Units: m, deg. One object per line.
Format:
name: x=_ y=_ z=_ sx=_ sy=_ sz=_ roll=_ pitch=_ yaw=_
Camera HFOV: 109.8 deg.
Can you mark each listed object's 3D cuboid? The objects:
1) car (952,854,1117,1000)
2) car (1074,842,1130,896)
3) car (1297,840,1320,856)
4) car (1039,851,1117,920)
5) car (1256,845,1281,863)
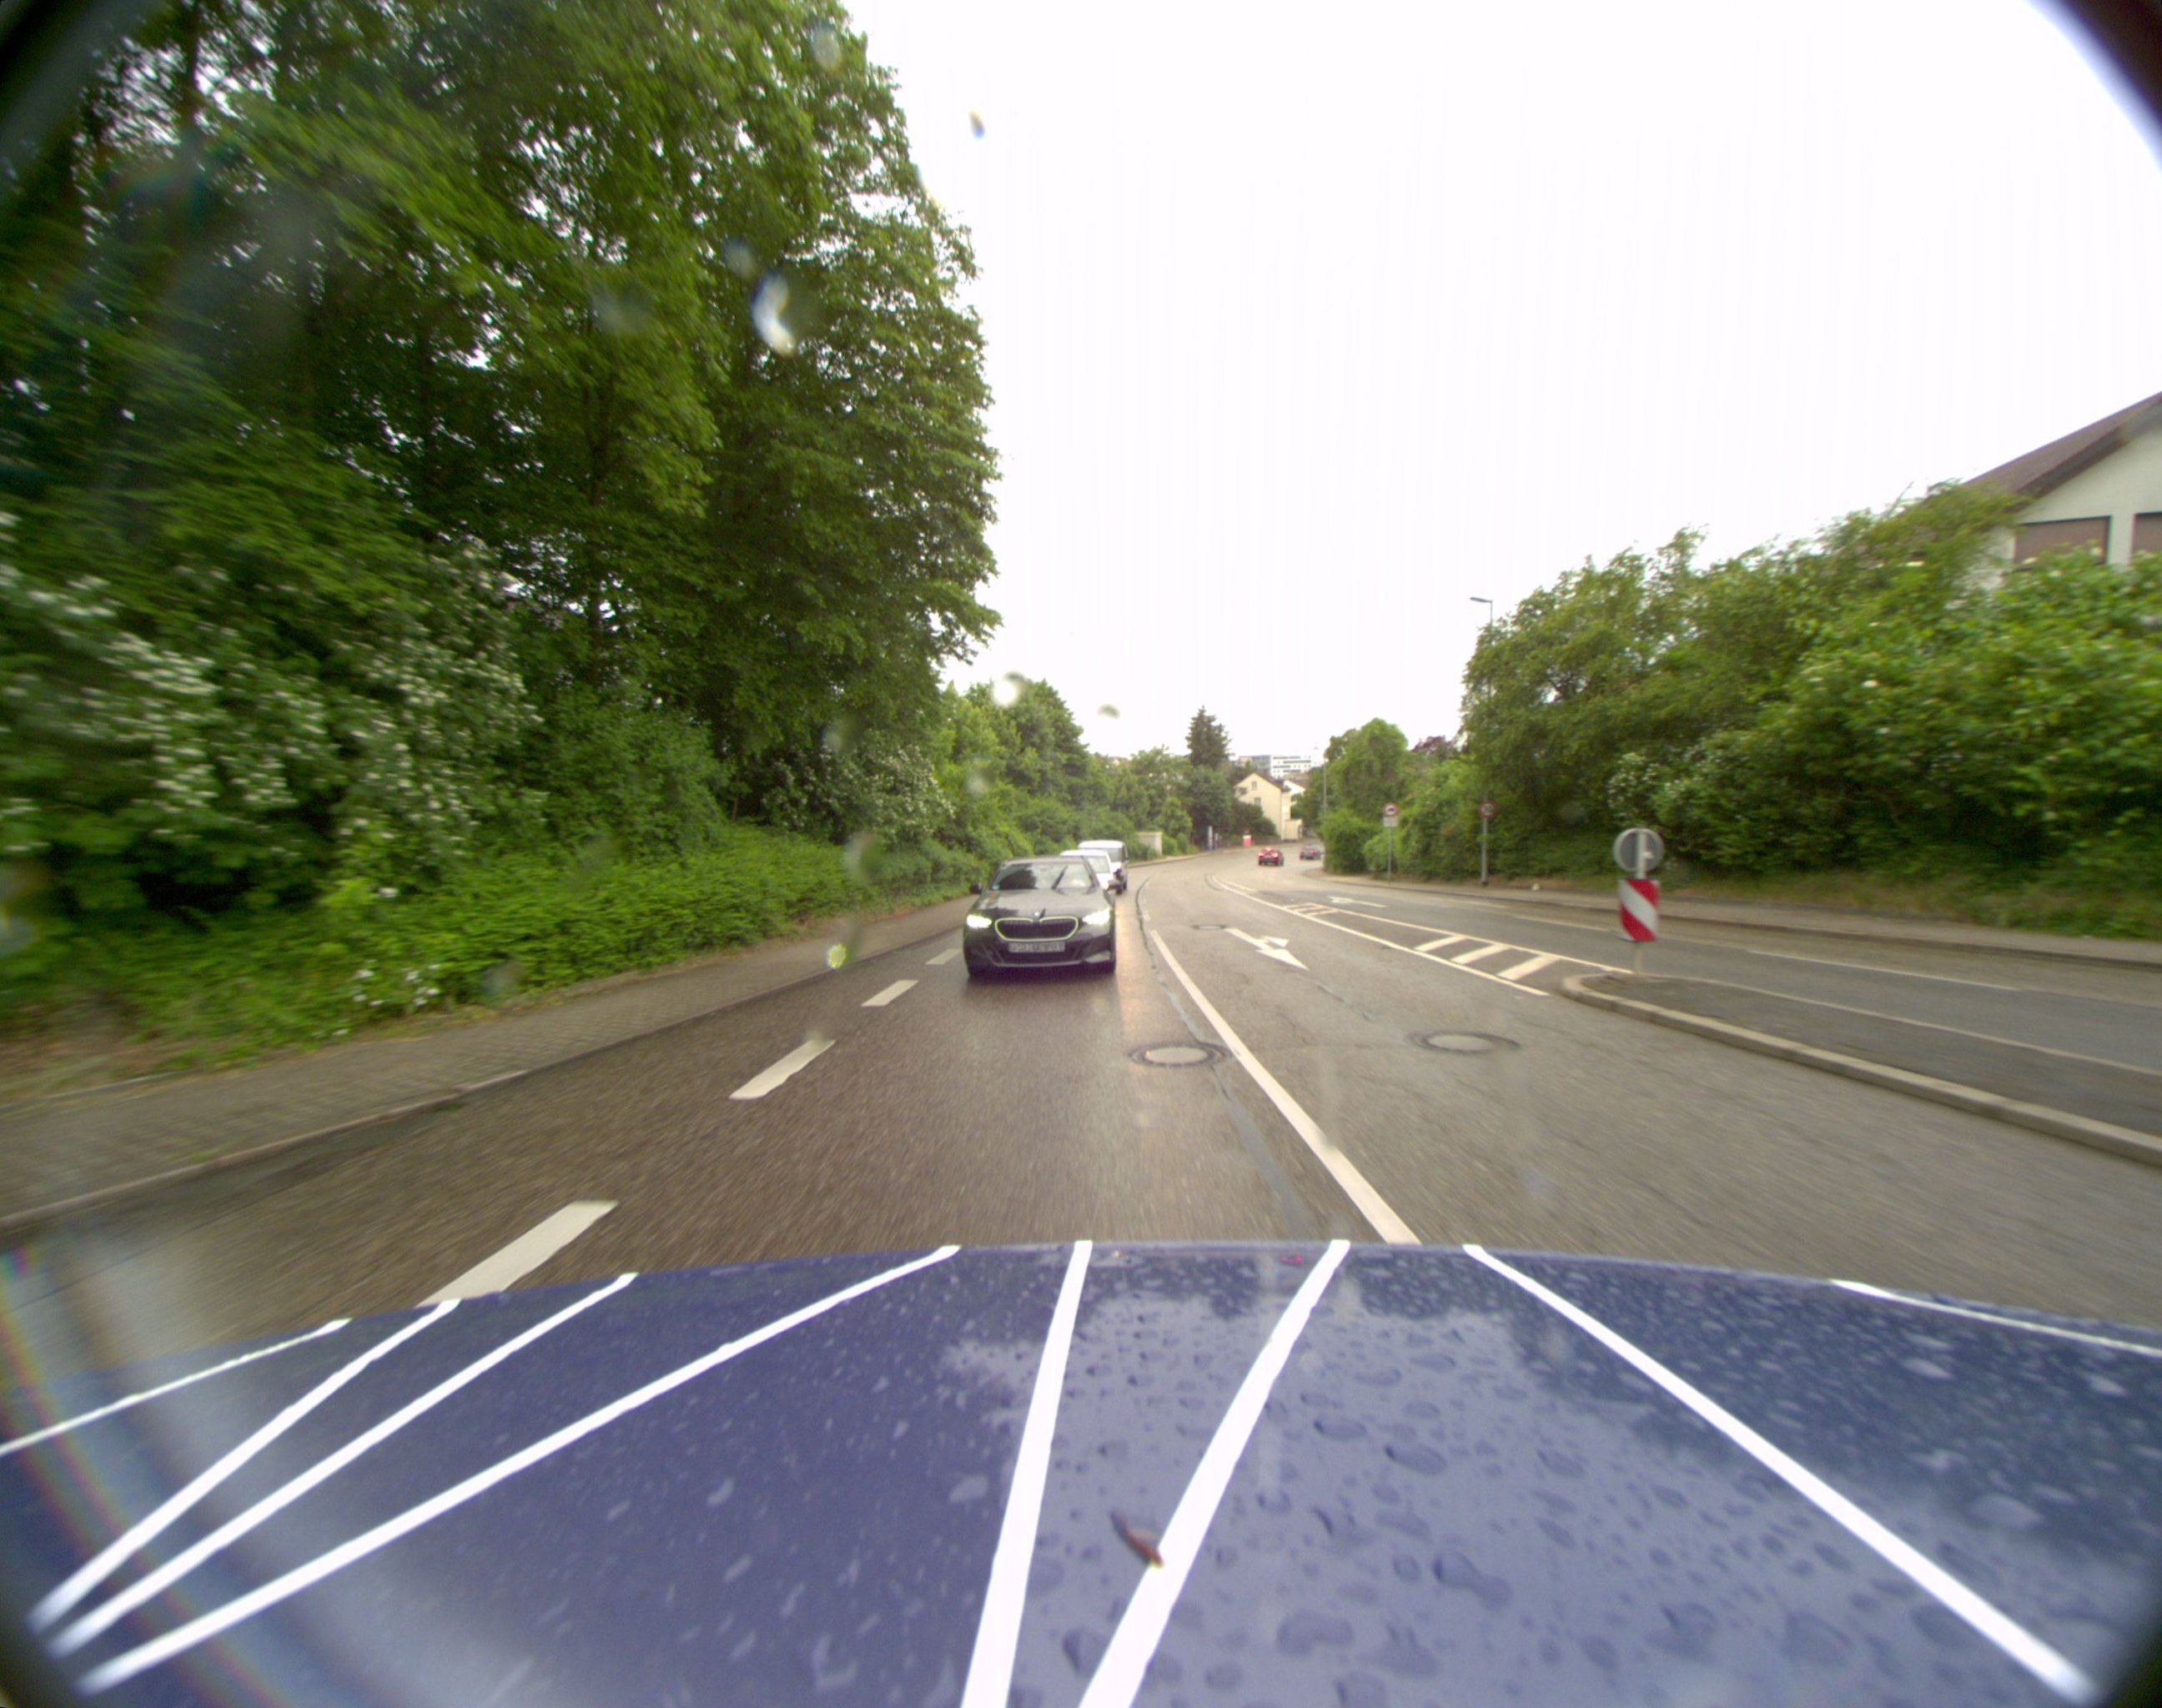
car: x=-0.508 y=0.843 z=10.764 sx=1.867 sy=1.547 sz=4.118 roll=-1 pitch=2 yaw=1
car: x=0.825 y=0.468 z=27.489 sx=1.814 sy=1.797 sz=4.120 roll=-1 pitch=1 yaw=4
car: x=28.445 y=-0.780 z=94.954 sx=2.128 sy=2.002 sz=4.093 roll=0 pitch=1 yaw=25
car: x=-0.050 y=0.730 z=19.906 sx=1.814 sy=1.547 sz=4.119 roll=-1 pitch=1 yaw=1
car: x=19.350 y=0.002 z=78.275 sx=1.957 sy=1.835 sz=4.006 roll=1 pitch=1 yaw=20
